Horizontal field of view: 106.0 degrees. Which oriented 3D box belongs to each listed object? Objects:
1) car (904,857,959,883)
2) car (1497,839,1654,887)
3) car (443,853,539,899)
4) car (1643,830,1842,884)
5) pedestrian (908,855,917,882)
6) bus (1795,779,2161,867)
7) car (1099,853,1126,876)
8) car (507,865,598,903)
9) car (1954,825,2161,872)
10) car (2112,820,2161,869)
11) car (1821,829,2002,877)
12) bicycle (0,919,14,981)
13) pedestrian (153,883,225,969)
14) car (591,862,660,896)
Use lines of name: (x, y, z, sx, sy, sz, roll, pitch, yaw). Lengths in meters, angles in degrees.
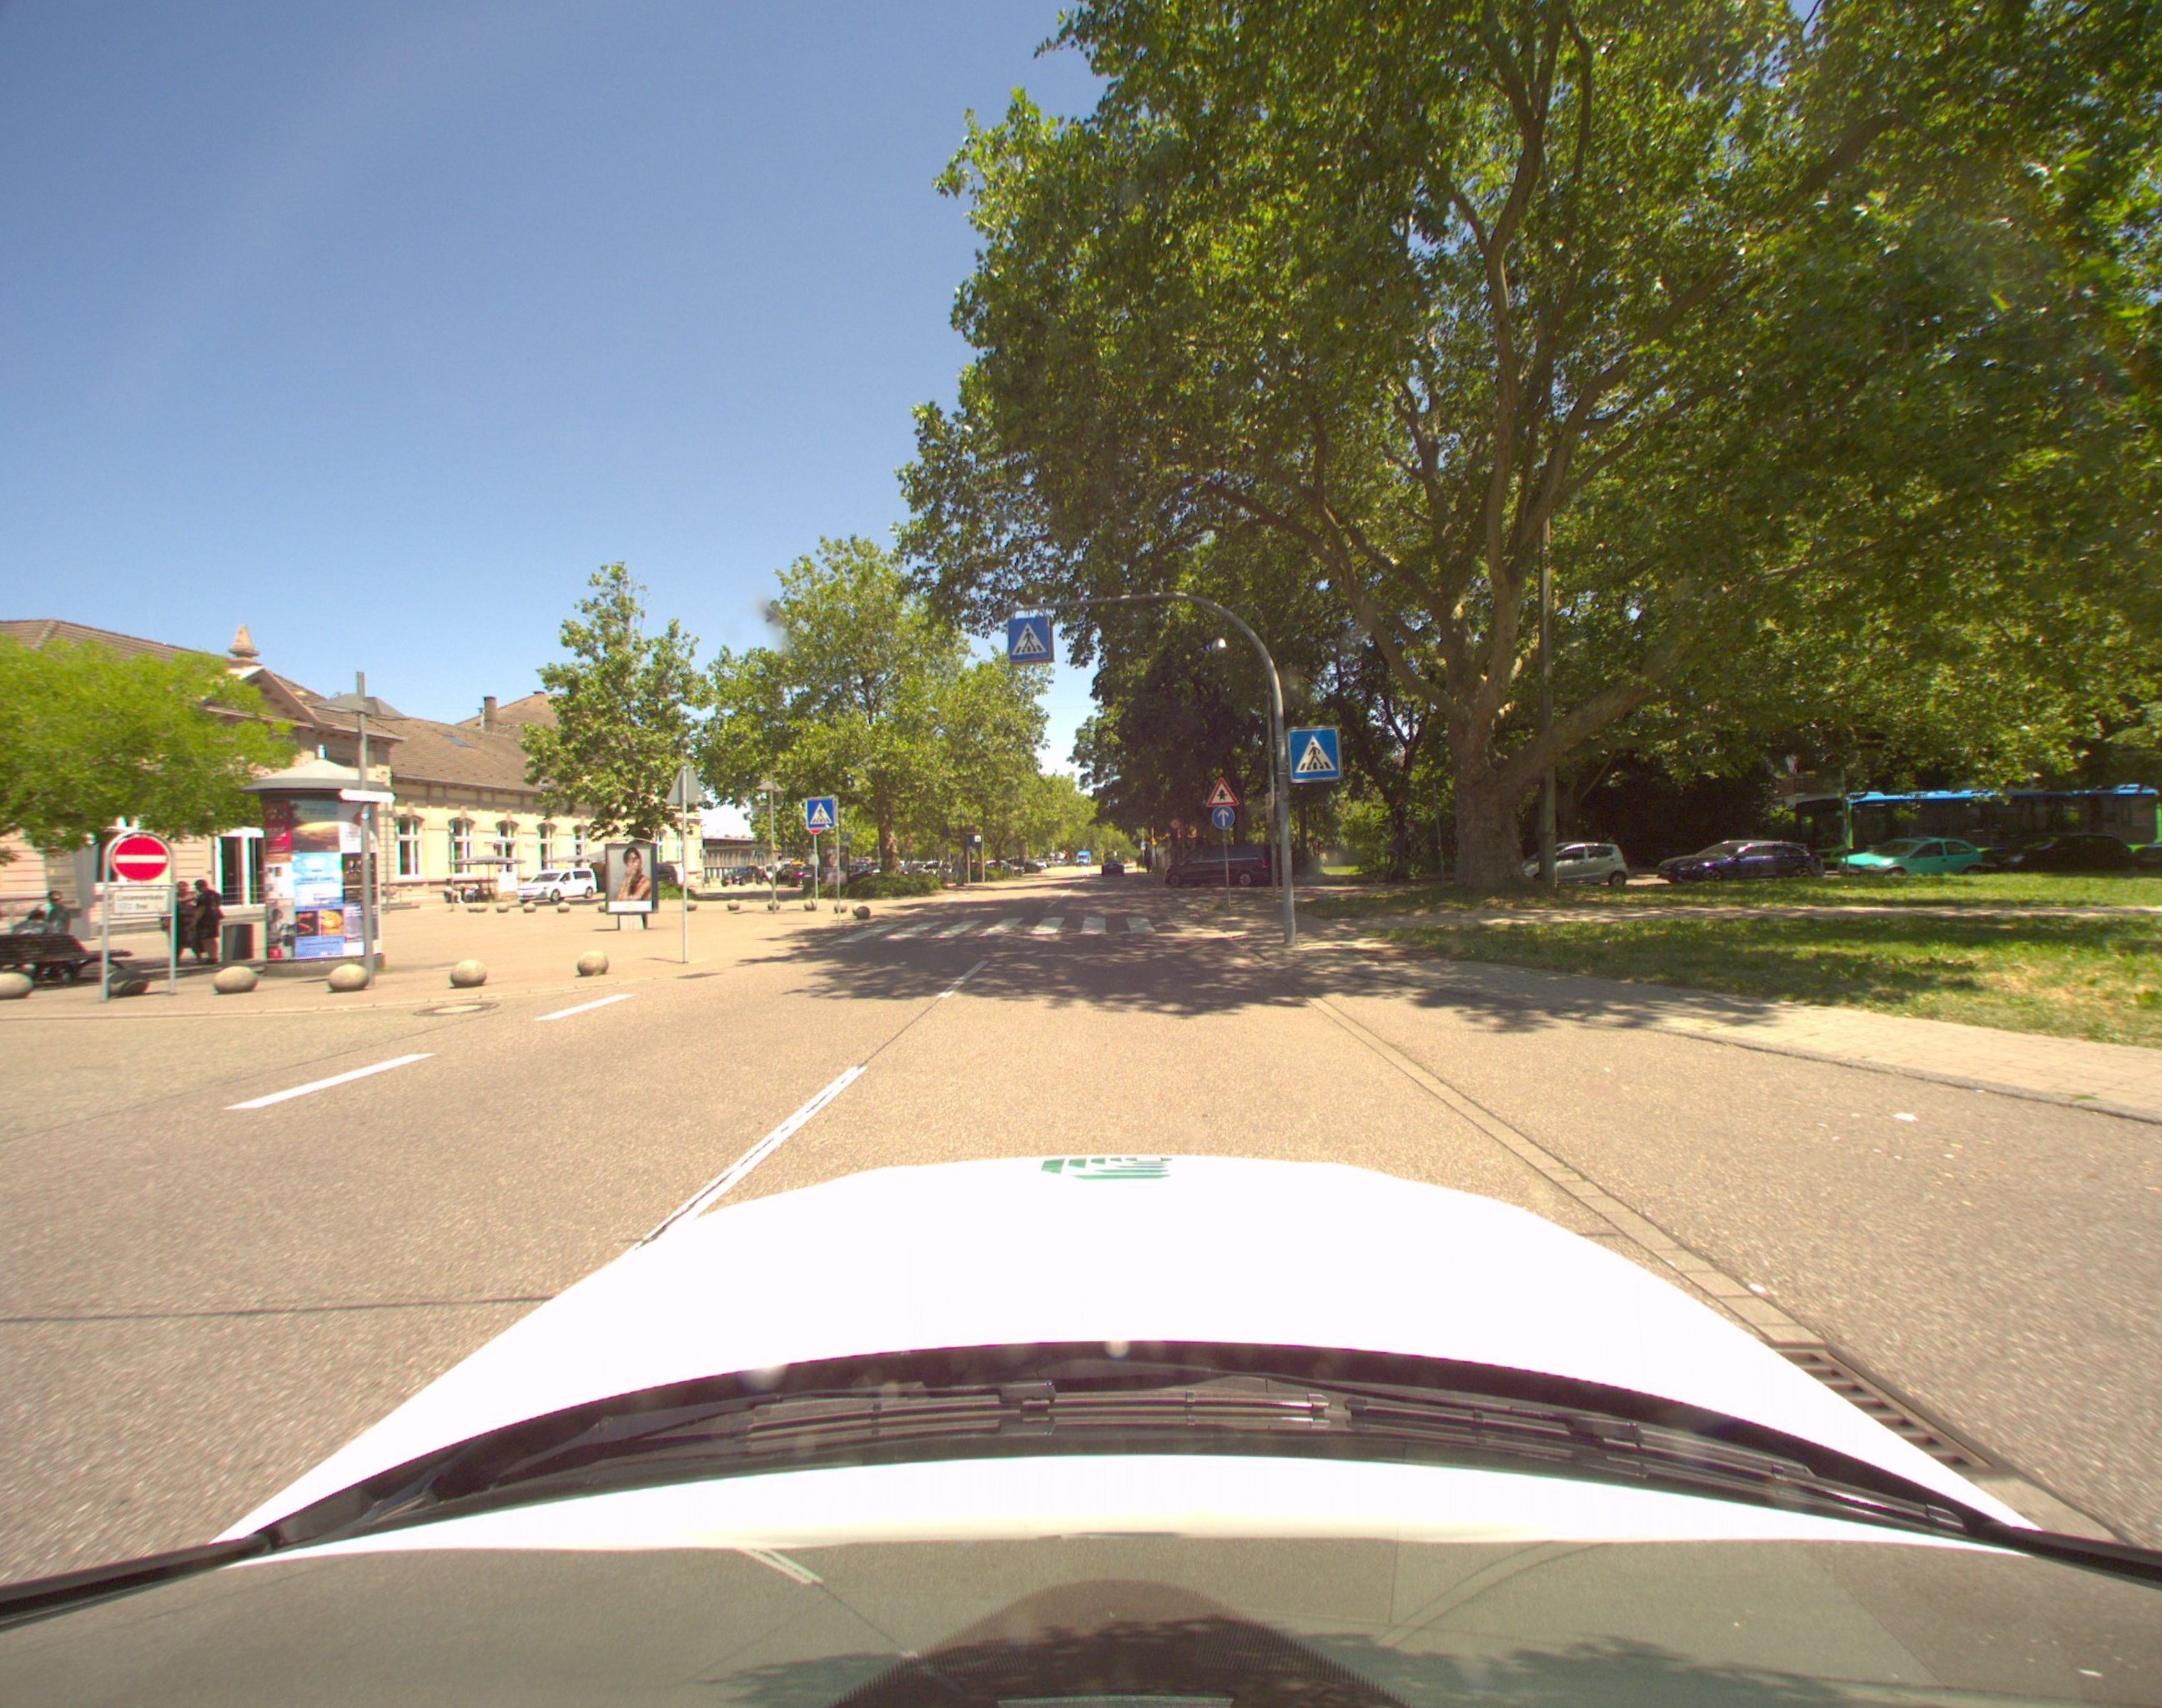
car: (-11.462, 1.218, 62.329, 3.996, 1.782, 1.989, -1, -1, -17)
car: (16.642, 0.314, 27.597, 4.087, 1.466, 2.002, -1, -1, 3)
car: (-33.131, 1.194, 45.936, 1.713, 2.468, 5.005, 0, 0, 1)
car: (21.791, 0.126, 27.006, 4.801, 1.608, 2.002, -1, -1, 4)
pedestrian: (-12.572, 1.096, 60.729, 0.625, 2.014, 0.568, -1, -2, -12)
bus: (35.895, -1.192, 32.592, 12.332, 2.978, 2.269, -2, -1, 1)
car: (2.660, 0.885, 67.930, 2.116, 1.848, 4.051, -1, -1, 3)
car: (-29.029, 1.626, 44.905, 1.744, 1.917, 4.777, -2, -1, 2)
car: (32.138, -0.144, 26.917, 4.320, 1.416, 2.001, -1, -1, 2)
car: (37.323, -0.341, 26.776, 4.079, 1.609, 2.002, -1, -1, 3)
car: (27.386, -0.015, 26.968, 3.866, 1.454, 2.001, -1, -1, 2)
bicycle: (-19.199, 1.662, 13.509, 1.800, 1.030, 0.485, -1, -1, -22)
pedestrian: (-17.896, 1.438, 16.348, 0.754, 1.659, 0.724, -3, -2, 19)
car: (-29.010, 1.552, 52.002, 1.986, 2.014, 4.001, -2, -1, 2)
